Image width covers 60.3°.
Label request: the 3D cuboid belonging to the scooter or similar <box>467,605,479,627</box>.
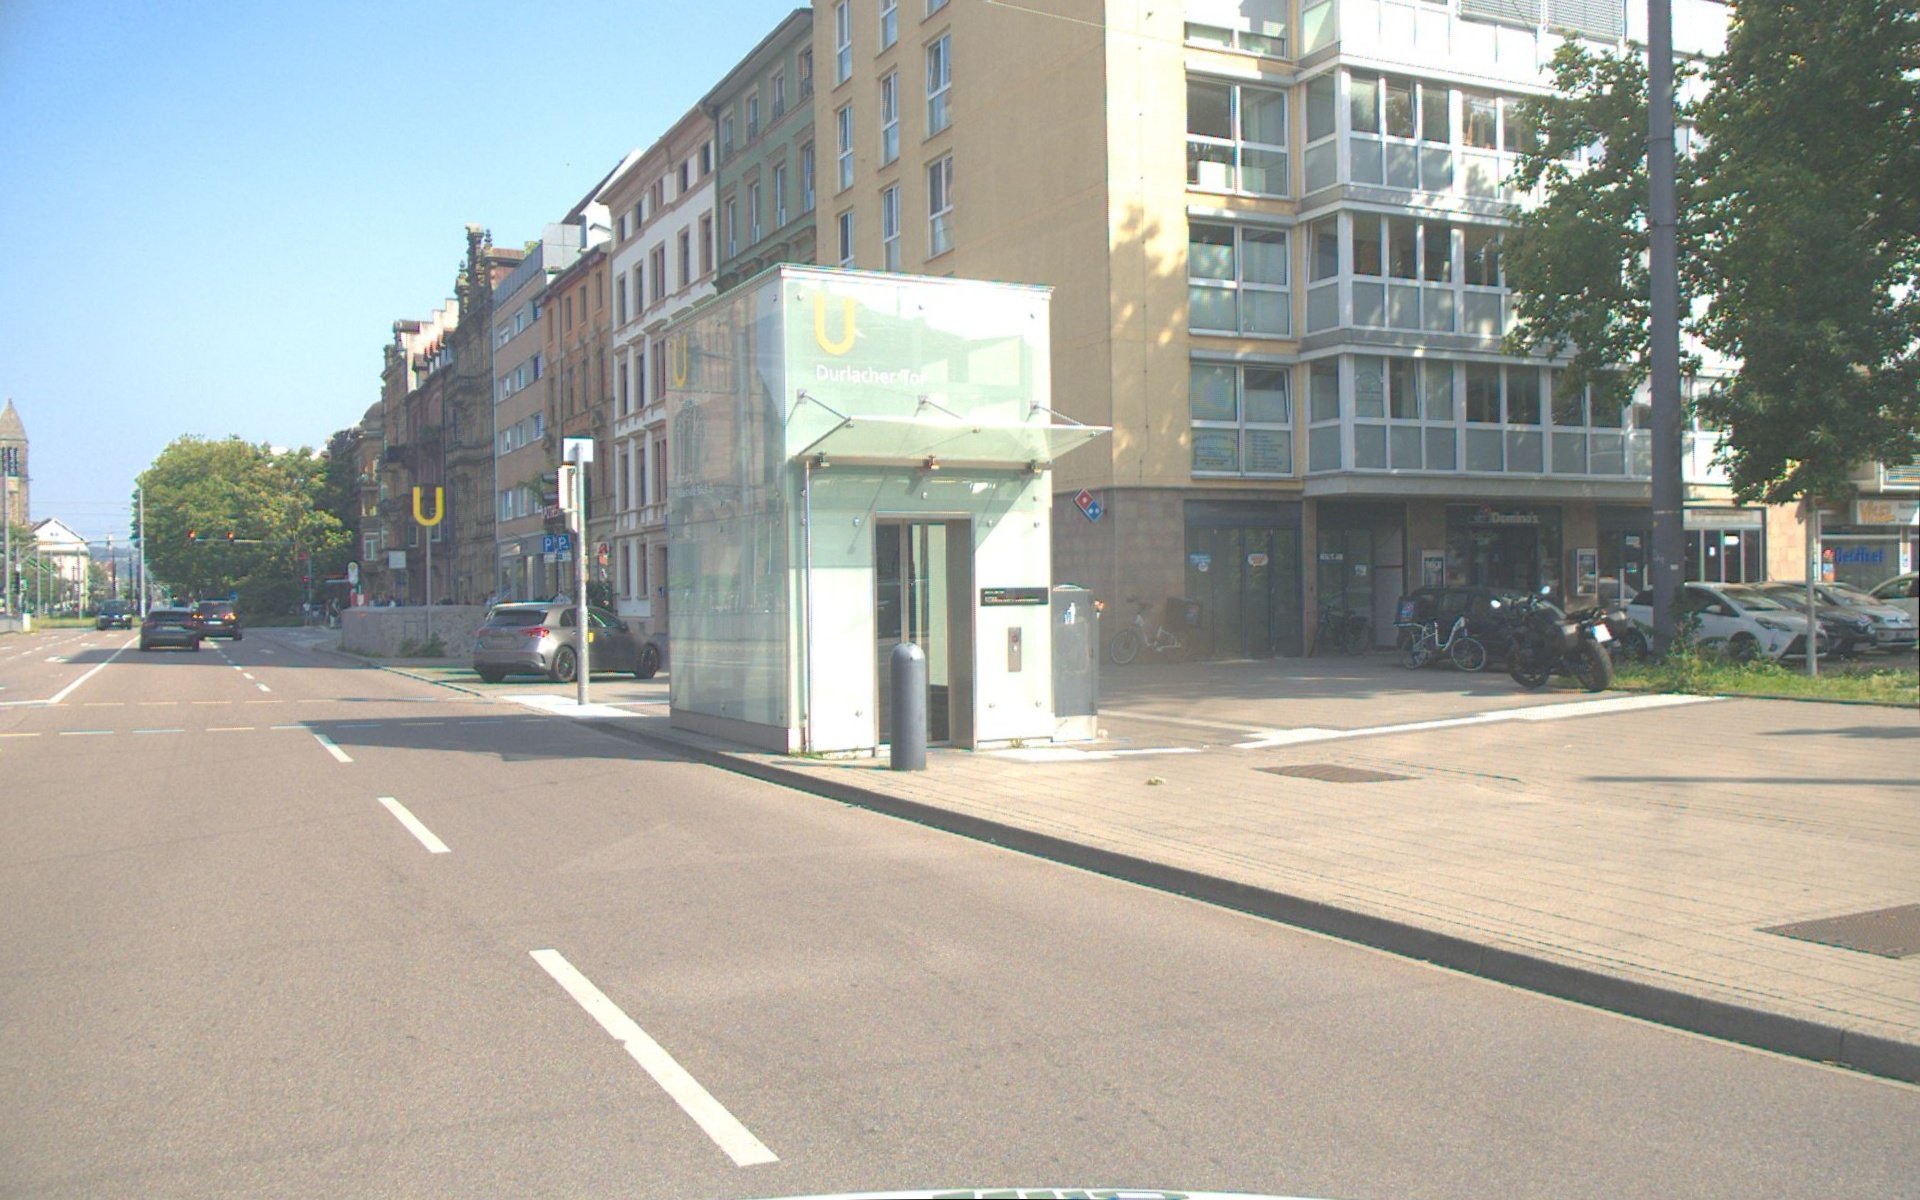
[{"bbox_3d":[-26.419,0.843,89.725,0.356,1.183,1.141,-1,0,-28],"label":"scooter or similar"}]

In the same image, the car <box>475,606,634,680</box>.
[{"bbox_3d":[-8.714,0.894,35.796,1.585,1.489,3.528,-1,0,22],"label":"car"}]

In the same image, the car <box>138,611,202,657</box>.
[{"bbox_3d":[-26.554,1.115,55.647,1.841,1.449,4.321,1,0,-25],"label":"car"}]

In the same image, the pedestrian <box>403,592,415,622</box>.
[{"bbox_3d":[-34.748,0.445,104.269,0.609,1.835,1.063,-1,0,-25],"label":"pedestrian"}]

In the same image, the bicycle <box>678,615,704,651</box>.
[{"bbox_3d":[-8.894,1.083,54.574,0.378,1.154,1.705,-1,0,-25],"label":"bicycle"}]

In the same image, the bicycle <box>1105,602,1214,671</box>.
[{"bbox_3d":[3.747,0.667,31.066,1.992,1.227,0.665,-1,0,-27],"label":"bicycle"}]

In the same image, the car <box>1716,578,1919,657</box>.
[{"bbox_3d":[18.192,0.337,34.654,1.968,1.533,3.969,-1,0,-25],"label":"car"}]

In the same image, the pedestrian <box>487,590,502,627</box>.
[{"bbox_3d":[-24.022,0.433,85.354,0.597,1.863,0.735,-1,0,-29],"label":"pedestrian"}]

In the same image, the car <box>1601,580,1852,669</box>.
[{"bbox_3d":[14.308,0.426,31.098,1.968,1.533,3.969,-1,0,-25],"label":"car"}]

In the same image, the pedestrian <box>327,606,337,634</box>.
[{"bbox_3d":[-39.307,1.235,103.498,0.476,1.731,0.696,-1,0,-29],"label":"pedestrian"}]

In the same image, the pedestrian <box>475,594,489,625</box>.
[{"bbox_3d":[-26.550,0.513,91.837,0.597,1.721,0.581,-1,0,-29],"label":"pedestrian"}]

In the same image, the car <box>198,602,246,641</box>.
[{"bbox_3d":[-32.474,0.937,72.748,1.809,1.649,4.321,1,0,-25],"label":"car"}]

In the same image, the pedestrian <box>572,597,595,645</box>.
[{"bbox_3d":[-13.255,0.743,58.216,0.601,1.657,0.731,-1,0,-26],"label":"pedestrian"}]

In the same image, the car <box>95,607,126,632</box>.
[{"bbox_3d":[-55.874,1.251,108.827,1.720,1.553,3.840,-1,0,-27],"label":"car"}]

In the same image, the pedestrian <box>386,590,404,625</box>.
[{"bbox_3d":[-29.309,0.384,85.800,0.741,1.759,0.793,-1,0,-29],"label":"pedestrian"}]

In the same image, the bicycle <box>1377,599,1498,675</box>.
[{"bbox_3d":[8.200,0.617,28.523,0.517,1.256,2.278,-1,0,-30],"label":"bicycle"}]

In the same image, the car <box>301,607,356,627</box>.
[{"bbox_3d":[-53.798,1.449,140.969,4.137,1.590,1.980,-1,0,-31],"label":"car"}]

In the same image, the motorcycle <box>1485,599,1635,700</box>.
[{"bbox_3d":[7.384,0.574,20.494,0.690,1.167,2.296,-1,0,-10],"label":"motorcycle"}]

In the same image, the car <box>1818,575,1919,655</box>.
[{"bbox_3d":[20.625,0.298,35.087,1.968,1.673,3.969,-1,0,-25],"label":"car"}]

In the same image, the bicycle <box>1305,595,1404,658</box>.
[{"bbox_3d":[8.031,0.523,33.643,1.992,1.204,0.665,-1,0,-27],"label":"bicycle"}]

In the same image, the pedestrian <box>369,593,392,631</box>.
[{"bbox_3d":[-28.938,0.603,82.579,0.915,1.863,0.793,-1,0,-29],"label":"pedestrian"}]

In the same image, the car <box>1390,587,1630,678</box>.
[{"bbox_3d":[9.593,0.531,29.197,1.635,1.466,4.162,-1,0,-25],"label":"car"}]

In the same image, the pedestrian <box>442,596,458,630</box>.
[{"bbox_3d":[-27.837,0.707,90.253,0.711,1.818,0.849,-1,0,-25],"label":"pedestrian"}]

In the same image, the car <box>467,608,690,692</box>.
[{"bbox_3d":[-7.130,0.893,31.403,1.805,1.448,4.406,-1,0,25],"label":"car"}]

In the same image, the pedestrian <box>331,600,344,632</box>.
[{"bbox_3d":[-33.892,0.862,90.082,0.559,1.759,0.738,-1,0,-29],"label":"pedestrian"}]

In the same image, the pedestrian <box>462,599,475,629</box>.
[{"bbox_3d":[-27.968,0.785,94.138,0.597,1.683,0.581,-1,0,-29],"label":"pedestrian"}]
